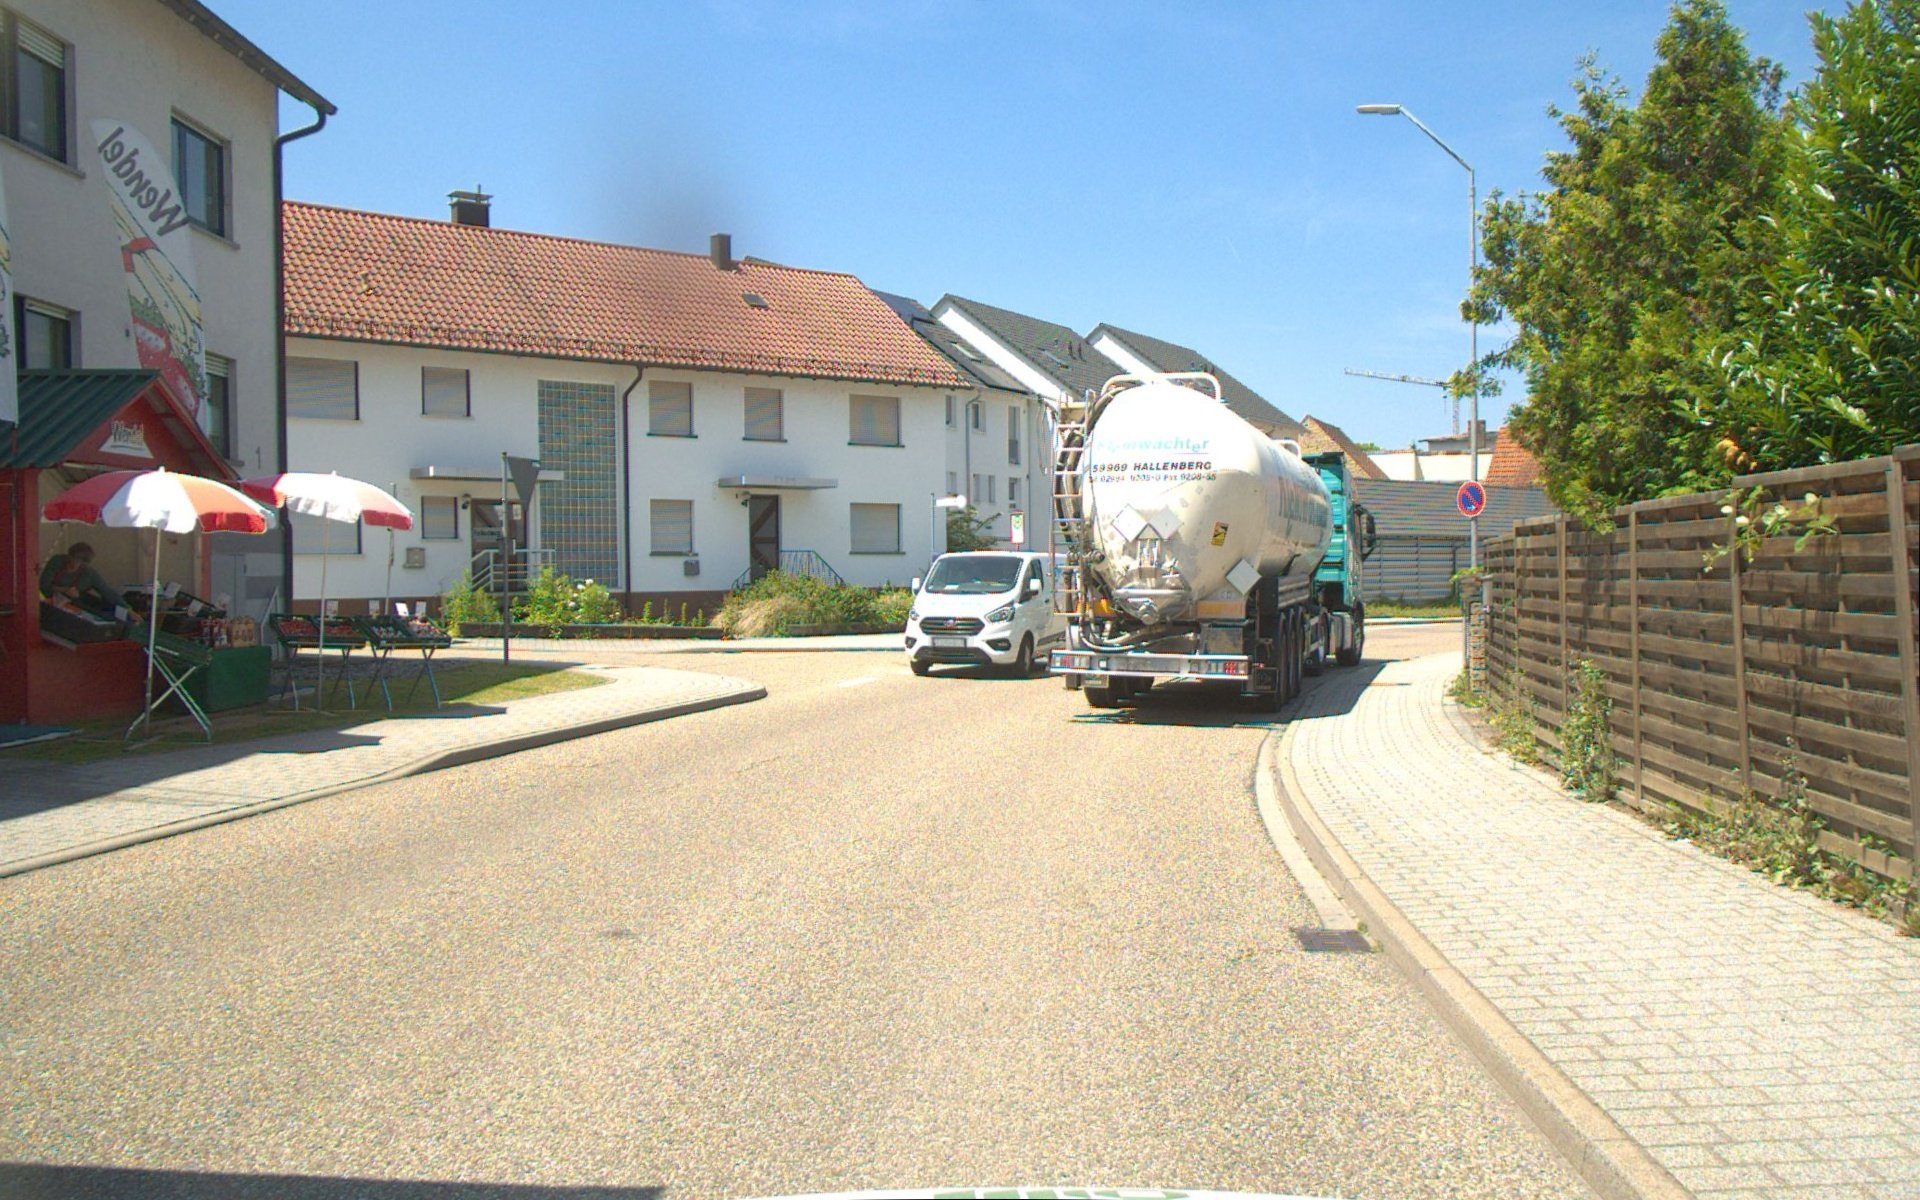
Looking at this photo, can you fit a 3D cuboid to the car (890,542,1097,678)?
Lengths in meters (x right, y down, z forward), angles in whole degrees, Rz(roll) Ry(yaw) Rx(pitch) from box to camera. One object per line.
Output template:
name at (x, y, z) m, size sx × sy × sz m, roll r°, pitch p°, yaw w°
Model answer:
car at (0.700, 0.086, 27.882) m, size 1.952 × 2.034 × 5.216 m, roll 2°, pitch 2°, yaw 19°

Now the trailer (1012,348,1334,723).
trailer at (3.557, -0.778, 23.706) m, size 2.890 × 4.016 × 11.627 m, roll 0°, pitch 1°, yaw 16°

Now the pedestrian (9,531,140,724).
pedestrian at (-7.671, 0.230, 14.340) m, size 0.600 × 1.615 × 0.807 m, roll 0°, pitch 0°, yaw 32°

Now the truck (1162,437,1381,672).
truck at (6.057, -0.815, 31.479) m, size 2.927 × 4.034 × 5.577 m, roll 0°, pitch 1°, yaw 23°
